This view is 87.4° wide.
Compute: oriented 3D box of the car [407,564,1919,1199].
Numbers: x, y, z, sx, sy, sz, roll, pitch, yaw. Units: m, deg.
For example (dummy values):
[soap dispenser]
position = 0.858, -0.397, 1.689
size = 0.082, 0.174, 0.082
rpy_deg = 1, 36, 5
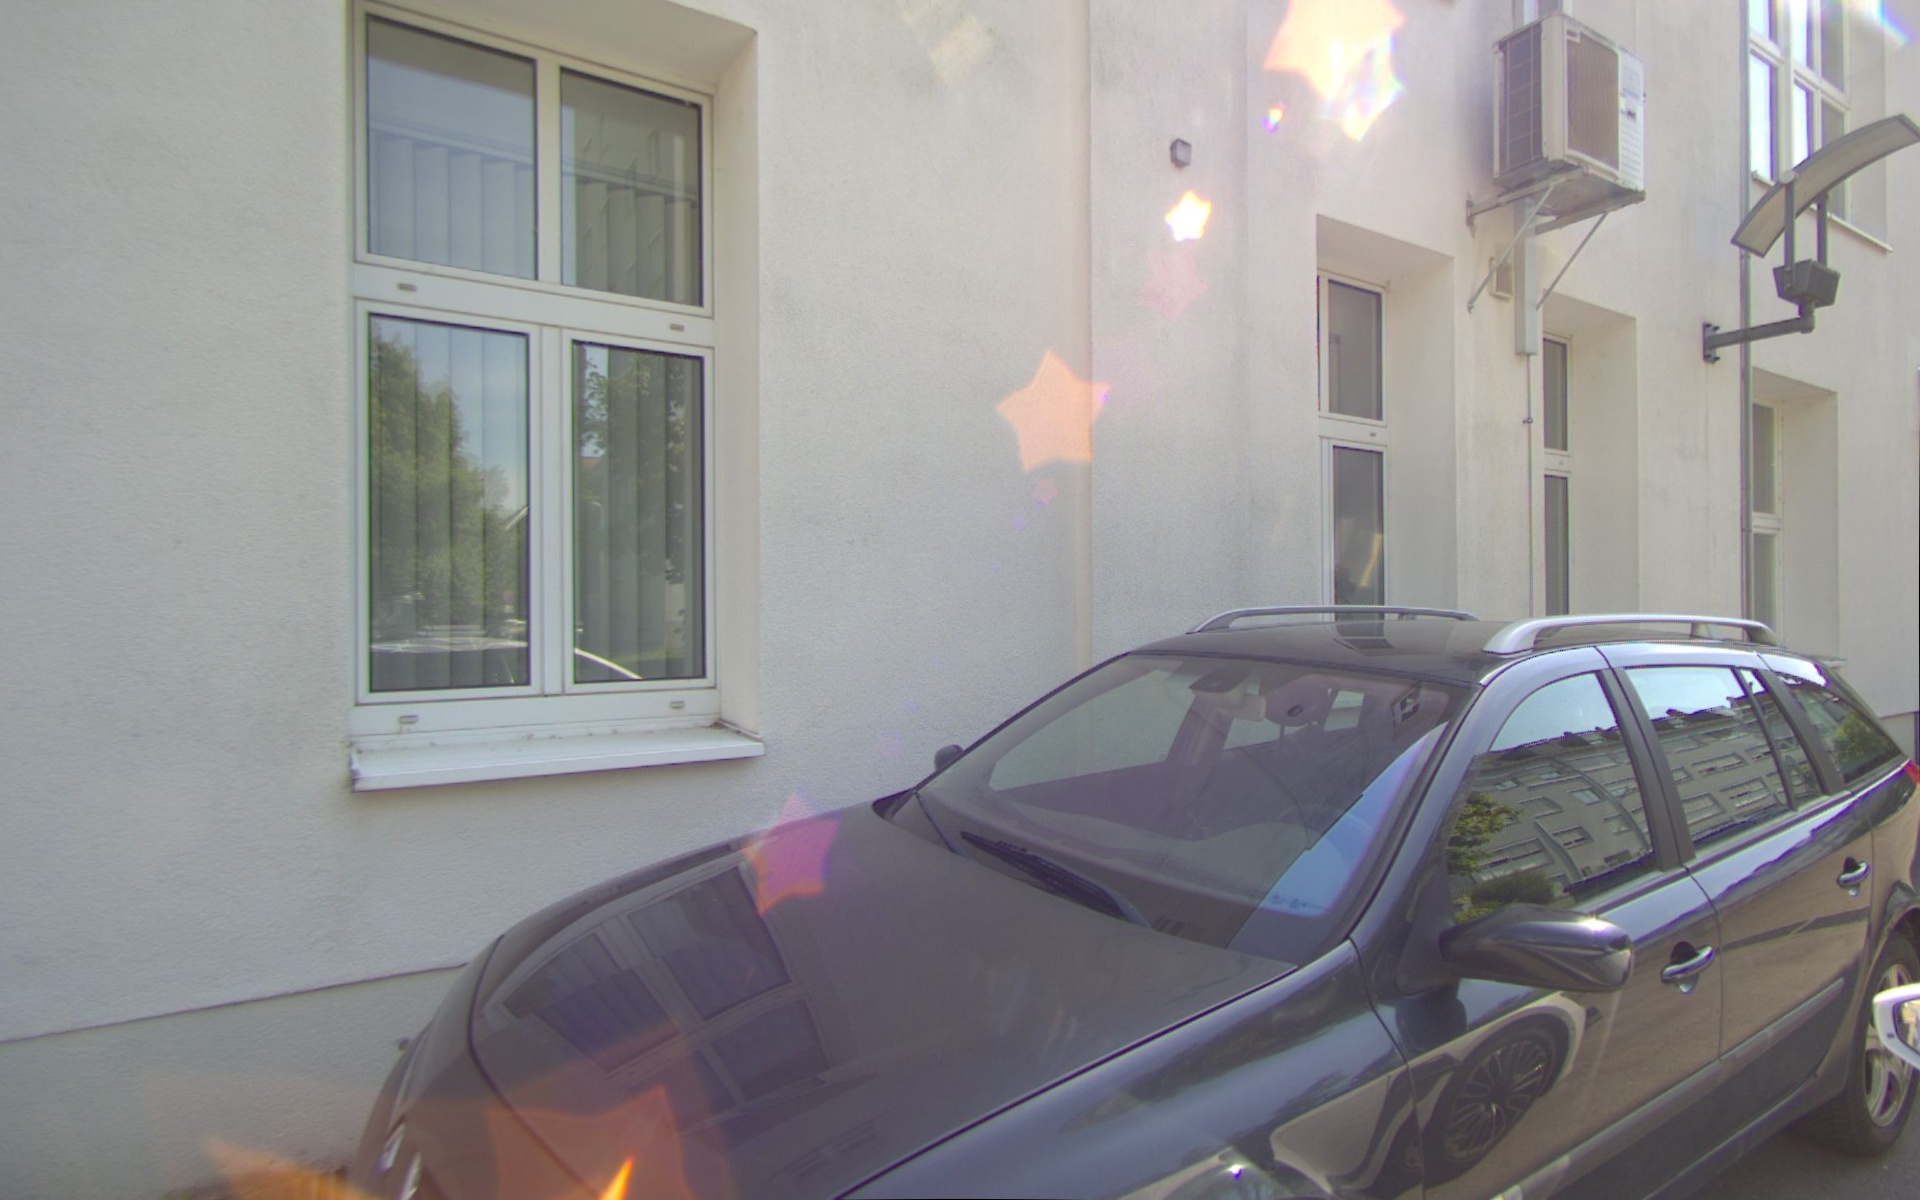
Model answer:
[car]
position = 1.048, 0.750, 2.772
size = 4.382, 1.461, 1.826
rpy_deg = 2, 0, -33
